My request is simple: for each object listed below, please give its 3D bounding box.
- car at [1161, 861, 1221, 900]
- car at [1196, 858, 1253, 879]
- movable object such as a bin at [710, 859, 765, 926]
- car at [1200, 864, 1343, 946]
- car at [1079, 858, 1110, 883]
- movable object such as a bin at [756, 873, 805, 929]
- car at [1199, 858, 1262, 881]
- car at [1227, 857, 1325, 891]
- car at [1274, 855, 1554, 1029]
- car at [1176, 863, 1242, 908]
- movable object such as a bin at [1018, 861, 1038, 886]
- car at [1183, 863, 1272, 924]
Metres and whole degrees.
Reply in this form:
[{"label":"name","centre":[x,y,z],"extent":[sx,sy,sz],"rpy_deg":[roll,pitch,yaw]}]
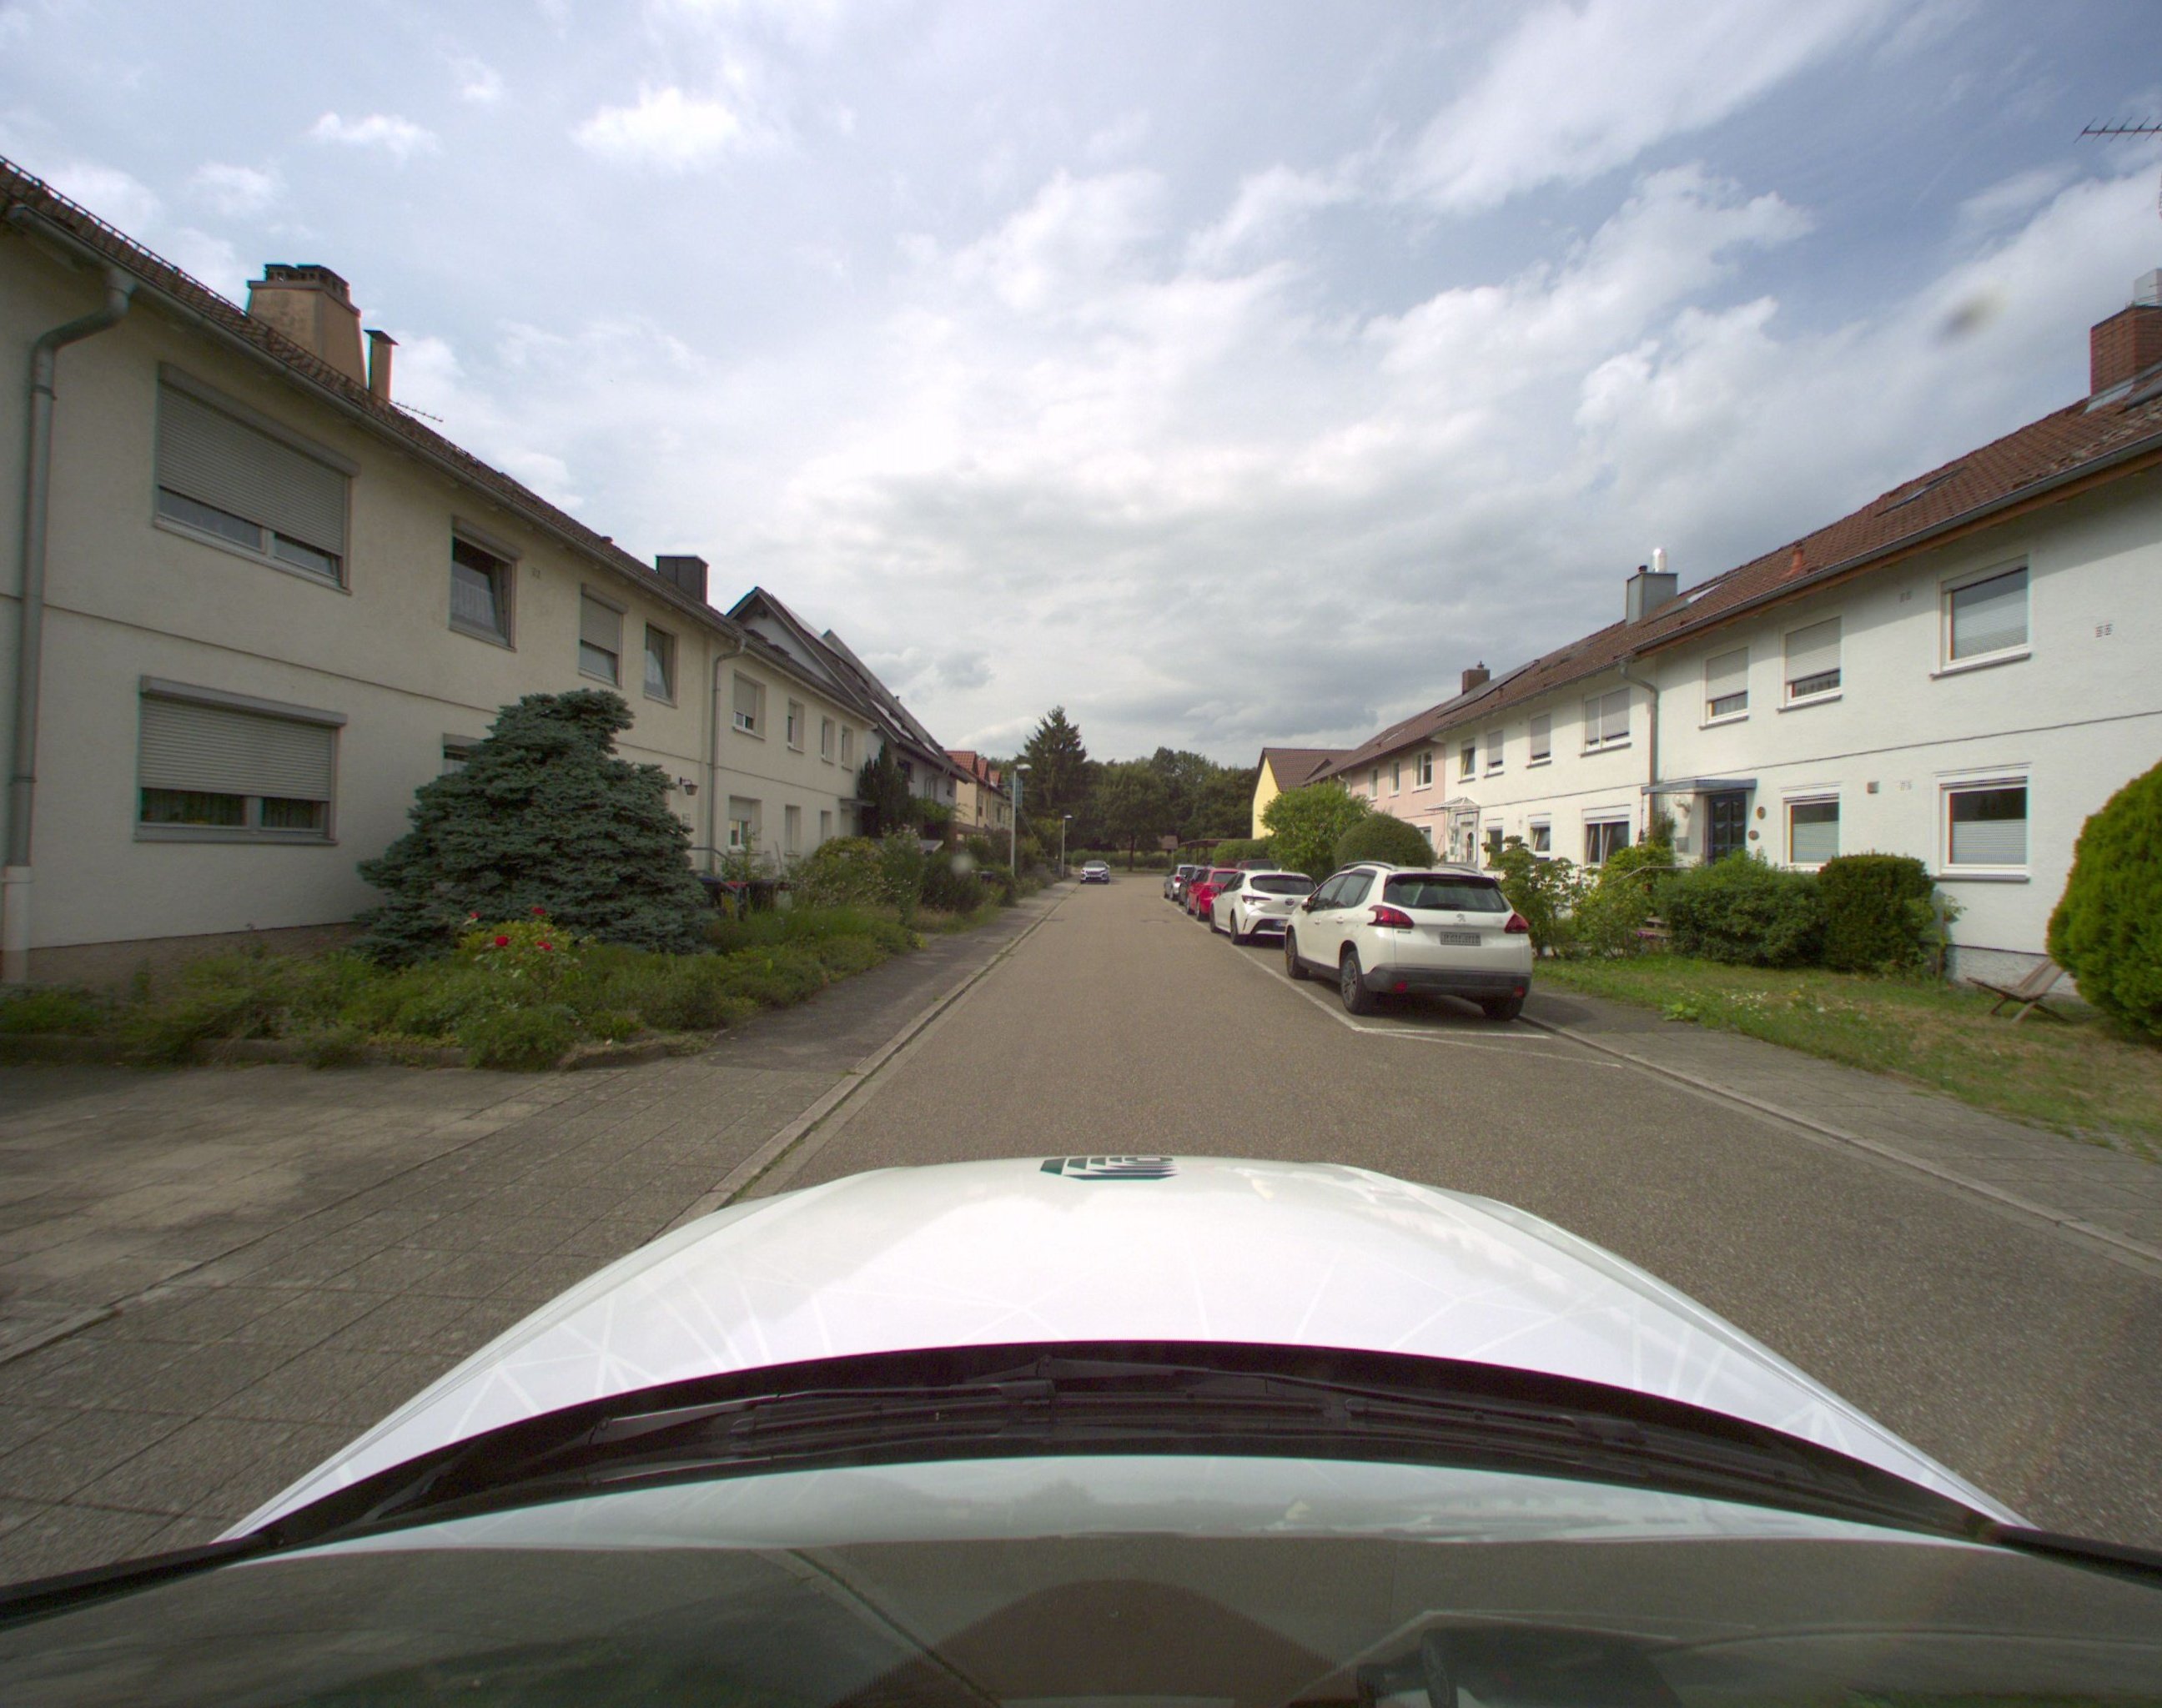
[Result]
[{"label":"car","centre":[4.411,1.041,33.183],"extent":[1.859,1.417,4.252],"rpy_deg":[1,0,0]},{"label":"car","centre":[10.787,1.071,61.231],"extent":[3.945,1.540,1.838],"rpy_deg":[0,0,-1]},{"label":"movable object such as a bin","centre":[-6.491,0.714,15.422],"extent":[0.693,1.239,0.735],"rpy_deg":[0,0,2]},{"label":"car","centre":[3.745,0.932,16.840],"extent":[1.832,1.413,4.635],"rpy_deg":[0,0,-1]},{"label":"car","centre":[0.922,1.046,54.185],"extent":[1.926,1.556,4.637],"rpy_deg":[0,0,2]},{"label":"movable object such as a bin","centre":[-5.612,0.873,15.234],"extent":[0.672,1.007,0.598],"rpy_deg":[0,0,2]},{"label":"car","centre":[10.310,1.064,56.318],"extent":[4.034,1.522,1.949],"rpy_deg":[0,0,-1]},{"label":"car","centre":[9.260,0.936,38.885],"extent":[4.253,1.560,1.936],"rpy_deg":[0,0,2]},{"label":"car","centre":[3.585,0.828,9.596],"extent":[1.707,1.544,3.974],"rpy_deg":[2,0,1]},{"label":"car","centre":[4.263,1.012,27.685],"extent":[1.766,1.356,4.268],"rpy_deg":[0,0,2]},{"label":"movable object such as a bin","centre":[-2.775,1.012,42.454],"extent":[0.946,1.312,1.001],"rpy_deg":[0,-1,1]},{"label":"car","centre":[3.974,1.013,22.854],"extent":[1.767,1.436,4.828],"rpy_deg":[3,0,2]}]
